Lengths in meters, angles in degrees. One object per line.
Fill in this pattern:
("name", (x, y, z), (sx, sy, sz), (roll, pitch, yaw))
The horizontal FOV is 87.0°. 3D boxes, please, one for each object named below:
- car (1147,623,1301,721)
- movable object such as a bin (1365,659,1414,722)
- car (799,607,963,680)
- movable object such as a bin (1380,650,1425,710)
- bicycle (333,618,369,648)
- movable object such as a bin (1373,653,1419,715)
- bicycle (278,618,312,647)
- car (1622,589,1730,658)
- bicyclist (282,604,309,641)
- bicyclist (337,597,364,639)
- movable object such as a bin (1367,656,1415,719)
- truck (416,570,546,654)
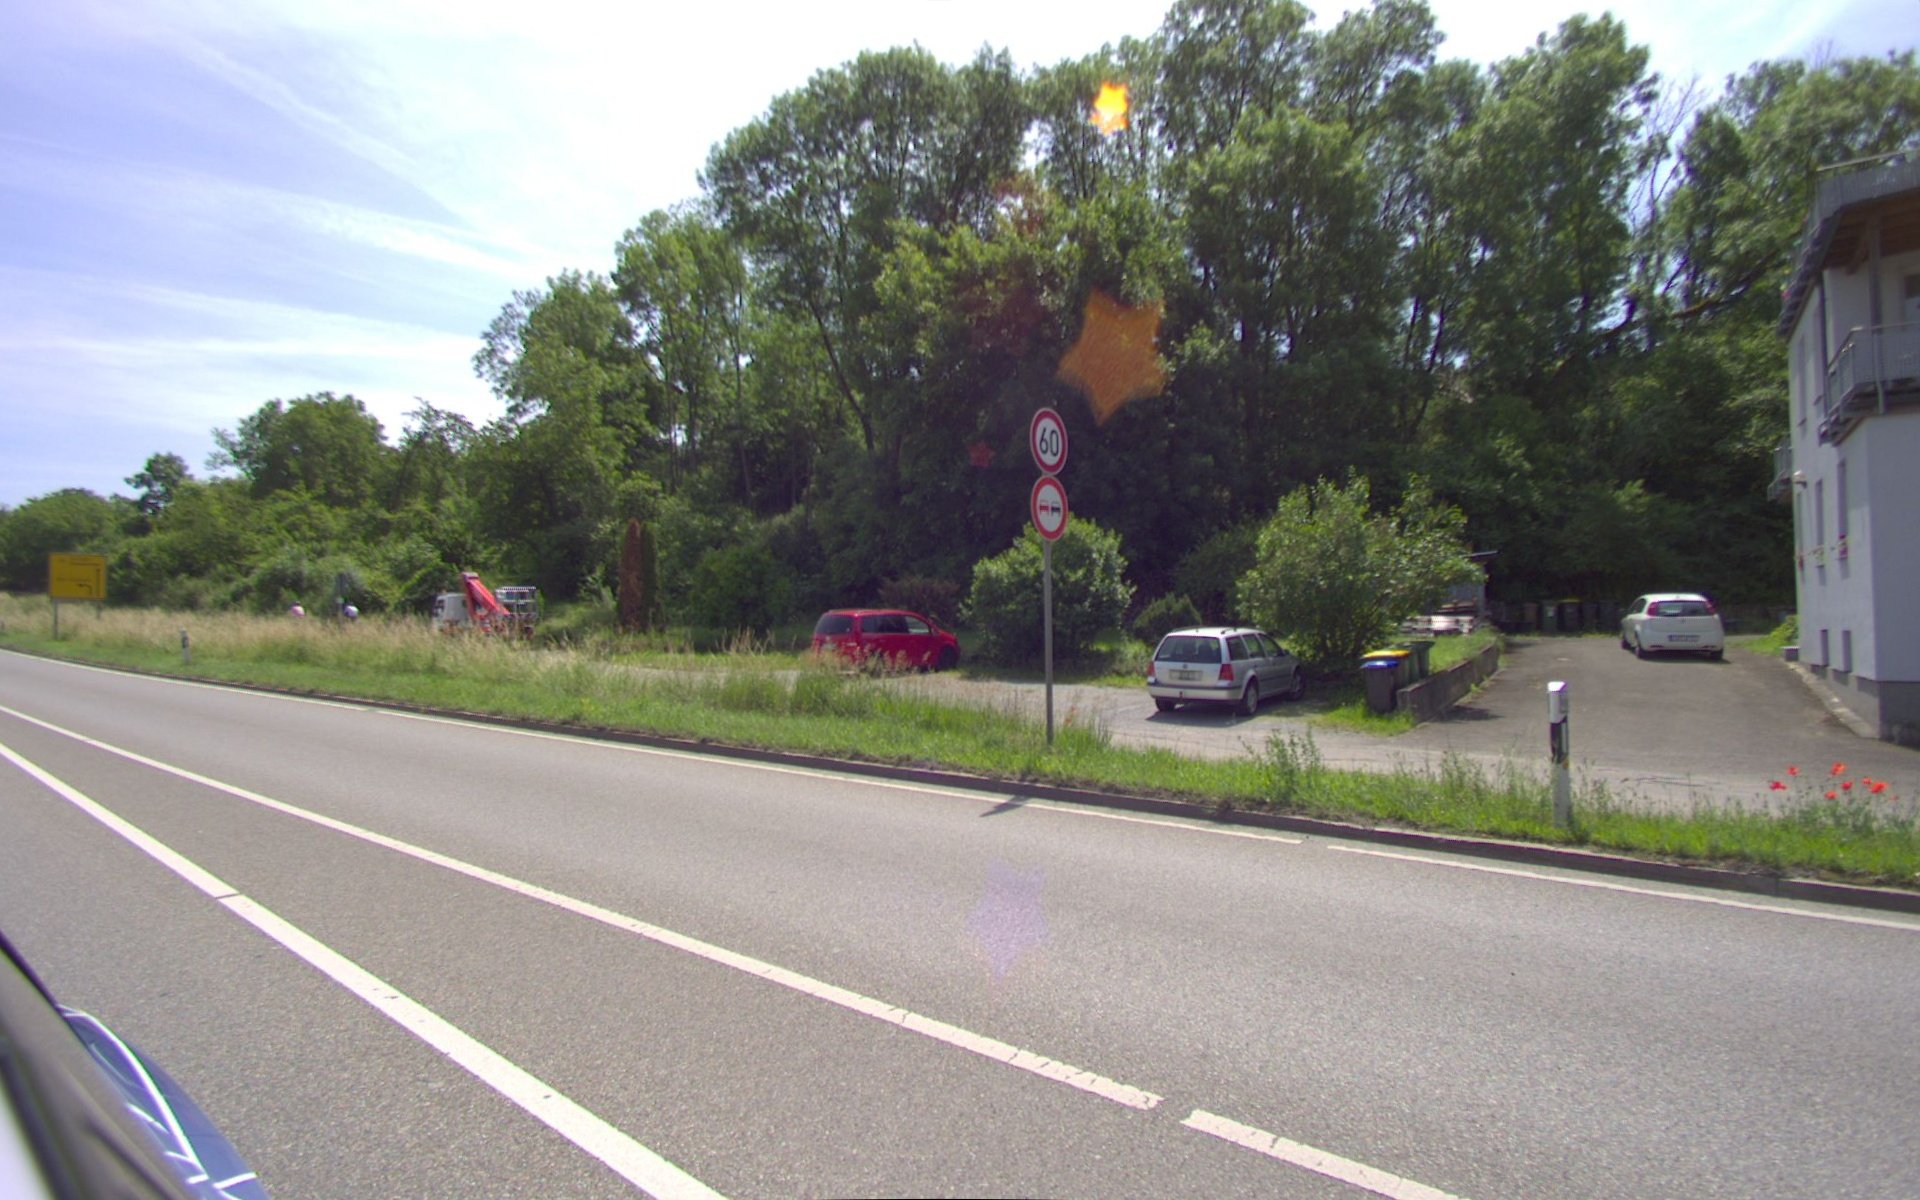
("car", (4.775, 1.193, 18.027), (1.606, 1.476, 3.348), (-1, 0, 35))
("movable object such as a bin", (6.927, 1.442, 16.320), (0.653, 0.943, 0.499), (0, 0, 33))
("car", (-1.922, 1.018, 25.563), (1.832, 1.631, 3.985), (-1, 0, 42))
("movable object such as a bin", (7.743, 1.391, 17.721), (0.653, 0.984, 0.499), (0, 0, 33))
("bicycle", (-25.638, 1.379, 42.600), (2.105, 1.189, 0.740), (-1, 0, 44))
("movable object such as a bin", (7.448, 1.422, 17.292), (0.653, 0.978, 0.499), (0, 0, 33))
("bicycle", (-29.541, 1.420, 44.959), (2.104, 1.221, 0.741), (-1, 0, 42))
("car", (17.293, 0.526, 24.574), (1.664, 1.457, 3.356), (-1, 2, 28))
("bicyclist", (-29.505, 0.982, 44.936), (0.936, 1.607, 0.740), (-1, 0, 41))
("bicyclist", (-25.642, 0.764, 42.590), (0.936, 1.727, 0.740), (-1, 0, 43))
("movable object such as a bin", (7.164, 1.441, 16.827), (0.653, 0.977, 0.499), (0, 0, 33))
("truck", (-18.366, 0.436, 38.633), (6.772, 2.986, 2.005), (-1, 0, 42))
